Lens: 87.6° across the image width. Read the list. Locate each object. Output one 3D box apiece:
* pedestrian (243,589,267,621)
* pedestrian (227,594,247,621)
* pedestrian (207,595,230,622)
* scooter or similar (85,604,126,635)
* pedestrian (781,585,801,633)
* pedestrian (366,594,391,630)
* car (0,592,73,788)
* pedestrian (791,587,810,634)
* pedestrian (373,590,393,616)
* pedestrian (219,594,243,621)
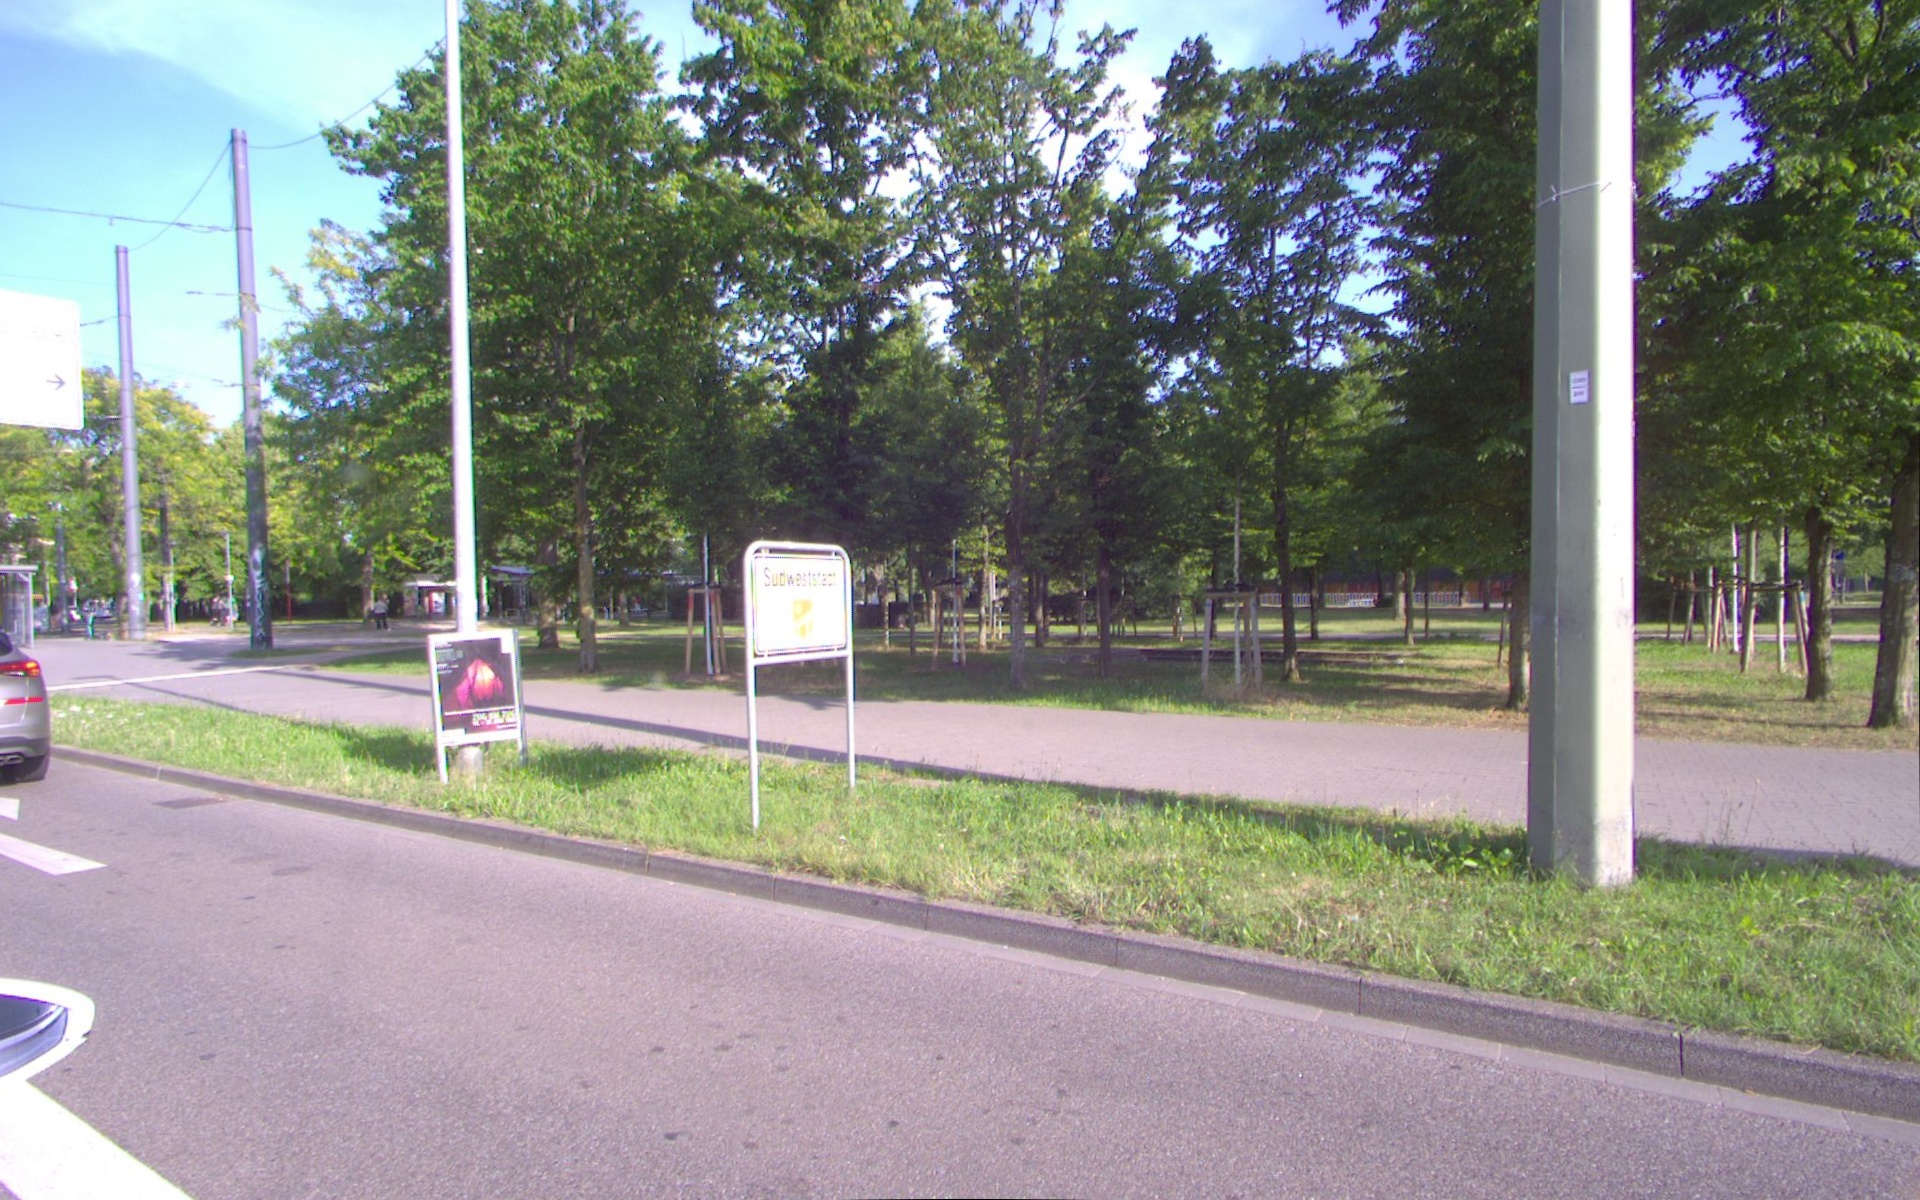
[{"bbox_3d":[-40.254,0.300,57.140,0.826,1.809,0.798,0,1,28],"label":"pedestrian"},{"bbox_3d":[-39.993,0.413,55.409,0.804,1.508,0.696,-2,1,-33],"label":"pedestrian"},{"bbox_3d":[-41.033,0.467,55.427,0.687,1.508,0.815,-1,1,-9],"label":"pedestrian"},{"bbox_3d":[-31.437,0.714,36.834,1.305,1.132,0.420,-1,1,13],"label":"scooter or similar"},{"bbox_3d":[-6.557,0.343,38.932,0.617,1.836,0.502,-1,1,6],"label":"pedestrian"},{"bbox_3d":[-27.818,0.567,47.907,0.793,1.659,0.754,-1,1,-7],"label":"pedestrian"},{"bbox_3d":[-9.979,0.799,9.130,3.595,1.673,1.880,-1,1,32],"label":"car"},{"bbox_3d":[-6.309,0.420,39.585,0.617,1.836,0.502,-1,1,3],"label":"pedestrian"},{"bbox_3d":[-36.917,0.198,64.035,0.792,1.659,0.832,0,1,38],"label":"pedestrian"},{"bbox_3d":[-41.097,0.423,56.454,0.688,1.508,0.813,0,1,22],"label":"pedestrian"}]
